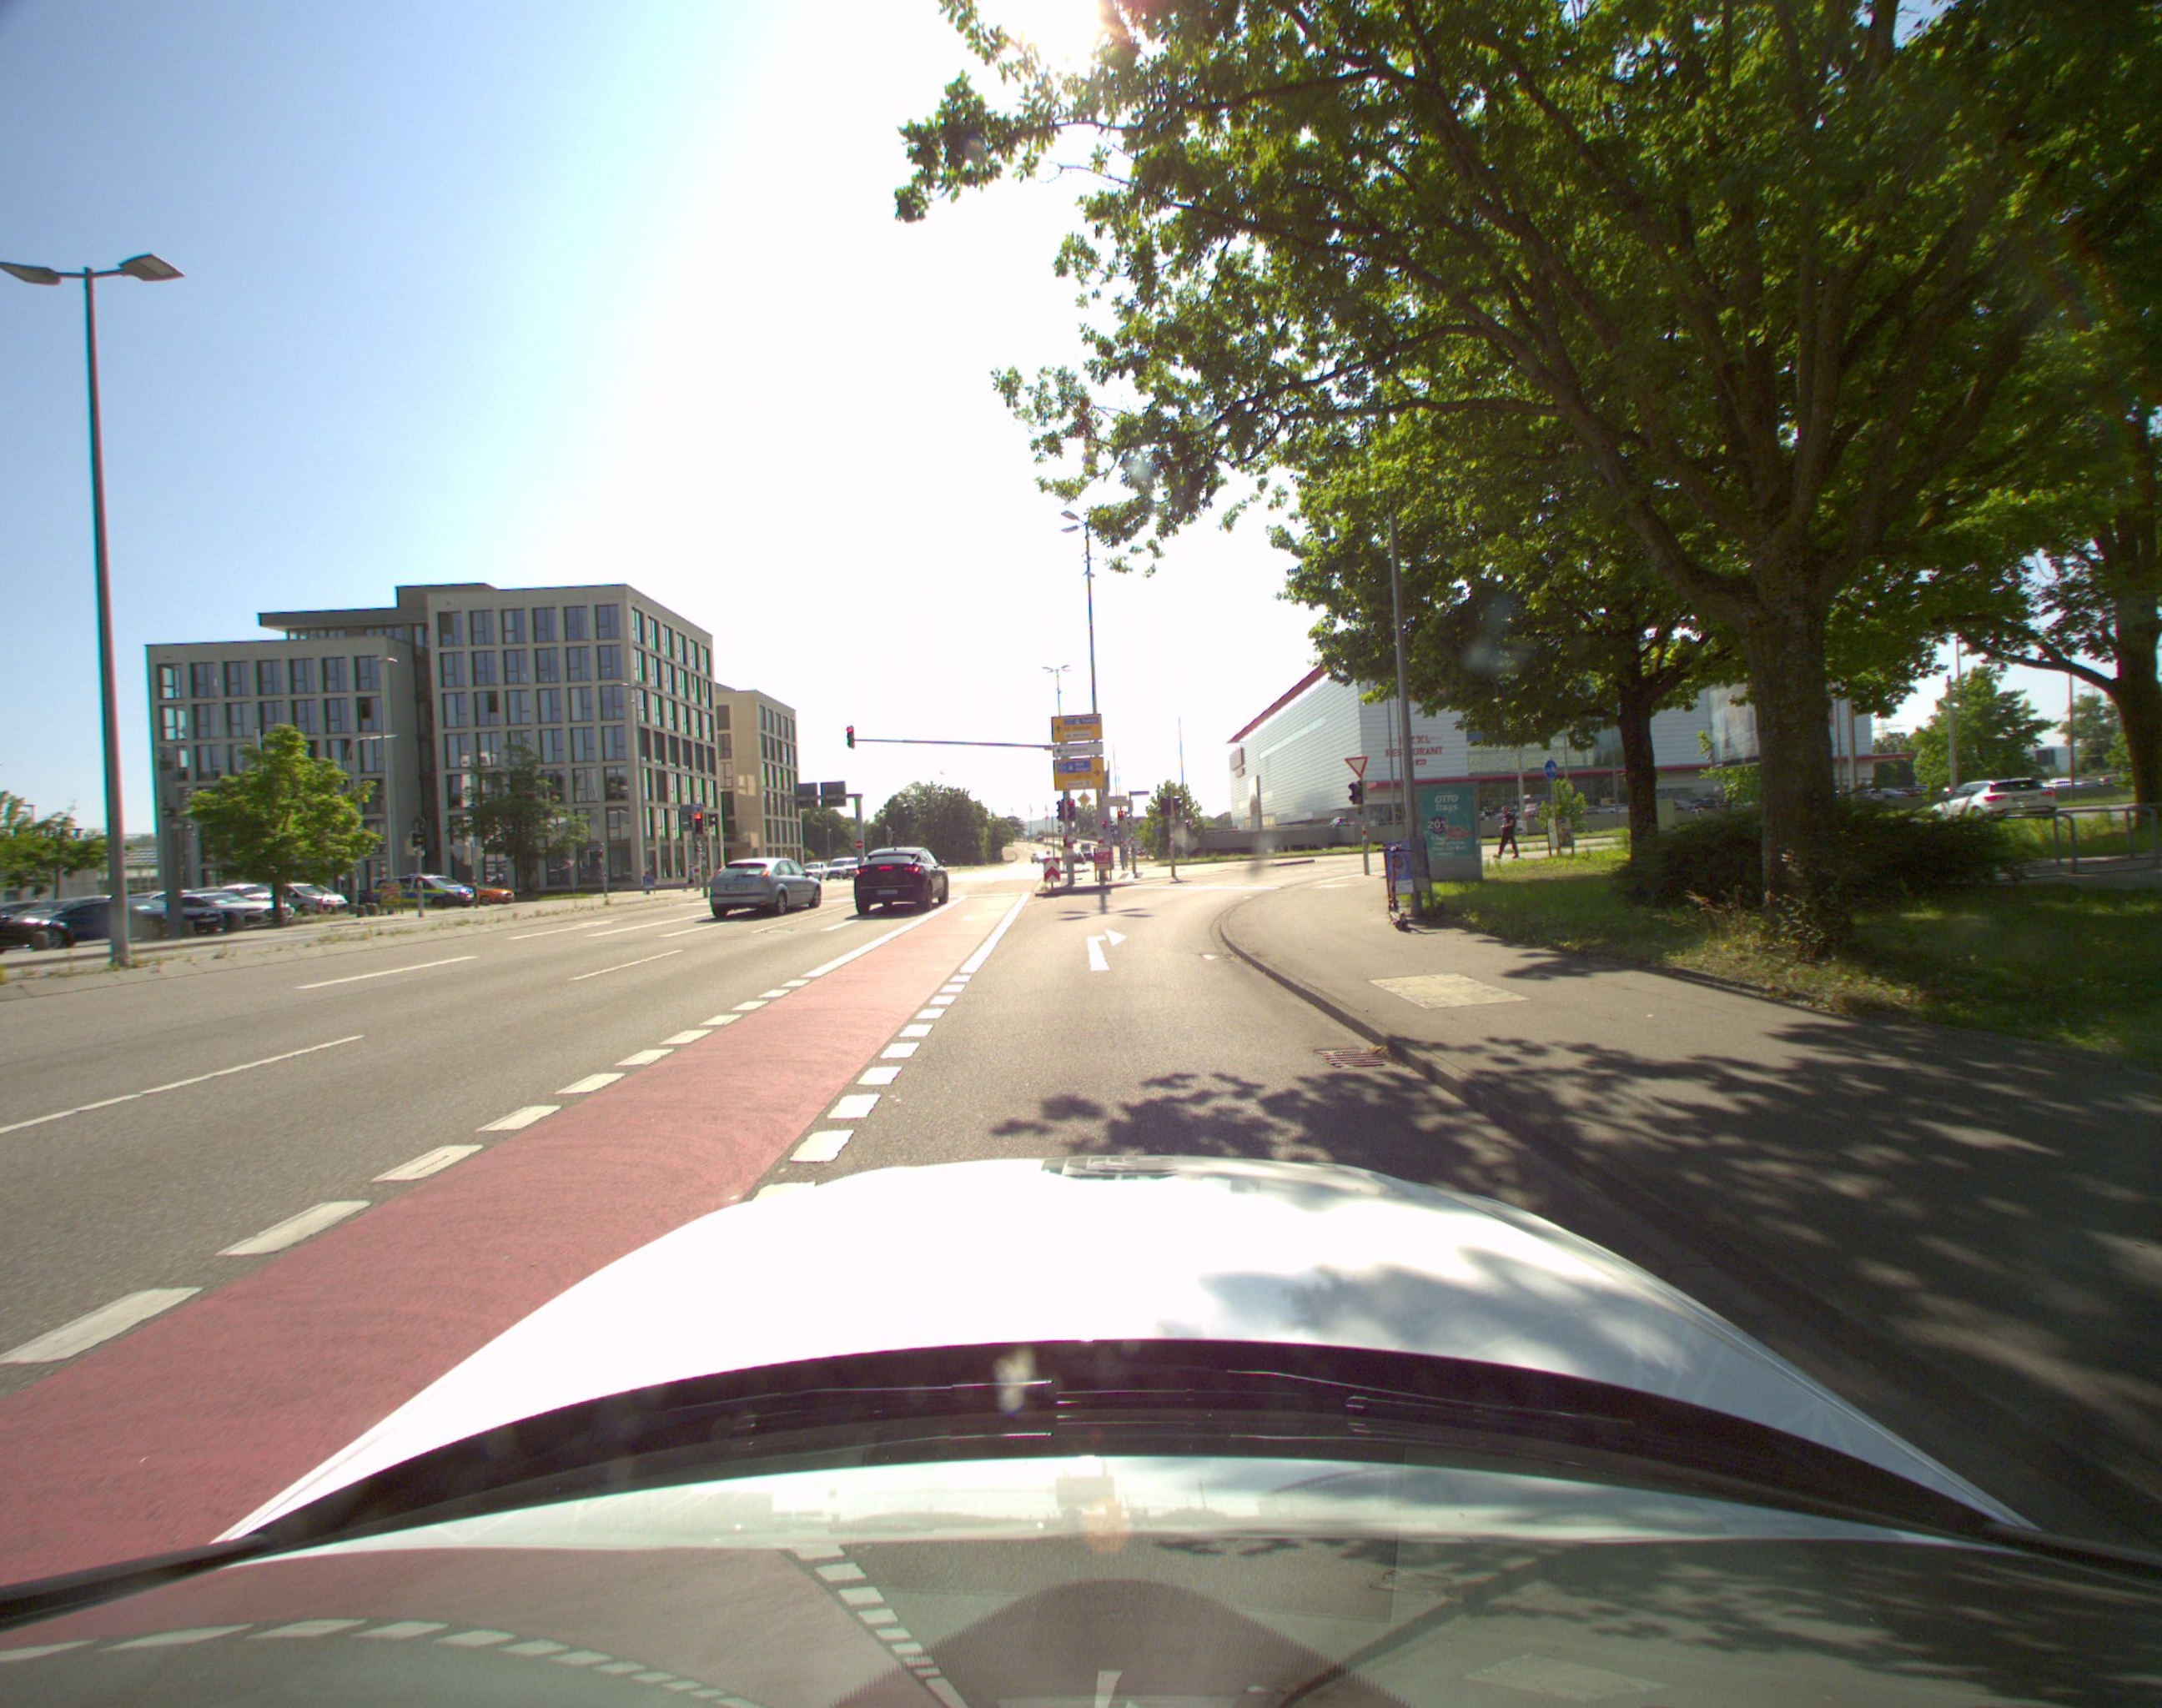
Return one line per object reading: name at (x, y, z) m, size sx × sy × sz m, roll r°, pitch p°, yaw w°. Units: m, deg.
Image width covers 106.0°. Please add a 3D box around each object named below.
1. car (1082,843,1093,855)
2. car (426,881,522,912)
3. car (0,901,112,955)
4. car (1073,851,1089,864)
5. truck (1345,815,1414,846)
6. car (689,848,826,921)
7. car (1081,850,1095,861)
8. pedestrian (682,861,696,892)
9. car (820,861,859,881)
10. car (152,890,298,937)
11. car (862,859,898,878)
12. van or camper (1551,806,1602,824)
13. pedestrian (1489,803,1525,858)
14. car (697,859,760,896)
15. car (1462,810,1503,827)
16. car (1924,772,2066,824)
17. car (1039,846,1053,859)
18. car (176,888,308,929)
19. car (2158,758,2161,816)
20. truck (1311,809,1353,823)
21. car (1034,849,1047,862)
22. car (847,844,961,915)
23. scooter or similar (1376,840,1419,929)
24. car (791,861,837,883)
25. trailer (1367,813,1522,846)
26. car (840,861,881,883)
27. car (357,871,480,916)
car at (1.316, -0.971, 165.639) m, size 1.986 × 2.321 × 4.002 m, roll -1°, pitch 2°, yaw 1°
car at (-35.277, 2.474, 47.428) m, size 3.973 × 1.464 × 2.000 m, roll -3°, pitch 0°, yaw 0°
car at (-31.102, 2.194, 23.094) m, size 1.697 × 1.343 × 4.444 m, roll -3°, pitch 1°, yaw 3°
car at (0.036, 0.354, 91.076) m, size 1.683 × 1.359 × 4.002 m, roll -1°, pitch 2°, yaw 1°
truck at (24.358, -1.899, 66.548) m, size 4.865 × 2.423 × 2.000 m, roll -1°, pitch 1°, yaw 0°
car at (-8.586, 0.735, 22.021) m, size 1.987 × 1.684 × 4.000 m, roll -3°, pitch 0°, yaw 0°
car at (0.953, 0.226, 109.284) m, size 1.683 × 1.359 × 4.002 m, roll -1°, pitch 2°, yaw 1°
pedestrian at (-26.230, 1.473, 54.505) m, size 0.760 × 2.013 × 0.926 m, roll -2°, pitch 2°, yaw -26°
car at (-20.600, 1.436, 69.603) m, size 1.807 × 1.464 × 4.005 m, roll -4°, pitch 0°, yaw 4°
car at (-30.345, 2.102, 28.922) m, size 3.399 × 1.343 × 1.646 m, roll -3°, pitch 0°, yaw 2°
car at (-17.365, 1.210, 70.520) m, size 1.807 × 1.464 × 4.005 m, roll -4°, pitch 0°, yaw 4°
van or camper at (59.214, -4.690, 97.387) m, size 4.970 × 2.013 × 1.999 m, roll -1°, pitch 2°, yaw -2°
pedestrian at (14.404, -0.784, 27.572) m, size 0.627 × 1.769 × 0.802 m, roll -4°, pitch 0°, yaw -11°
car at (-14.160, 0.922, 32.829) m, size 1.211 × 1.331 × 2.800 m, roll -1°, pitch 2°, yaw 1°
car at (48.287, -4.232, 97.900) m, size 3.977 × 2.013 × 1.999 m, roll -1°, pitch 2°, yaw -2°
car at (30.704, -1.824, 27.511) m, size 1.769 × 1.489 × 3.950 m, roll -3°, pitch 0°, yaw 26°
car at (-5.675, -0.229, 131.563) m, size 1.987 × 2.013 × 3.981 m, roll -1°, pitch 2°, yaw 0°
car at (-34.478, 2.215, 33.592) m, size 1.697 × 1.343 × 3.426 m, roll -3°, pitch 0°, yaw 3°
car at (28.700, -1.775, 19.034) m, size 1.781 × 1.489 × 3.924 m, roll -3°, pitch 0°, yaw -2°
truck at (39.577, -5.952, 128.506) m, size 5.887 × 2.013 × 2.001 m, roll -1°, pitch 2°, yaw 1°
car at (-6.059, 0.164, 122.986) m, size 1.755 × 1.793 × 3.344 m, roll -3°, pitch 0°, yaw -2°
car at (-4.651, 0.599, 22.092) m, size 1.800 × 1.640 × 4.462 m, roll -3°, pitch 1°, yaw 3°
scooter or similar at (4.721, 0.426, 12.192) m, size 0.349 × 1.233 × 1.316 m, roll -4°, pitch 0°, yaw 13°
car at (-20.402, 1.326, 62.433) m, size 1.883 × 1.464 × 4.005 m, roll -4°, pitch 0°, yaw 4°
trailer at (29.630, -1.994, 66.616) m, size 11.833 × 2.469 × 2.000 m, roll -1°, pitch 1°, yaw -1°
car at (-17.148, 1.386, 63.551) m, size 1.807 × 1.464 × 4.005 m, roll -4°, pitch 0°, yaw 4°
car at (-35.765, 2.105, 44.084) m, size 4.898 × 2.050 × 2.000 m, roll -3°, pitch 0°, yaw 0°
